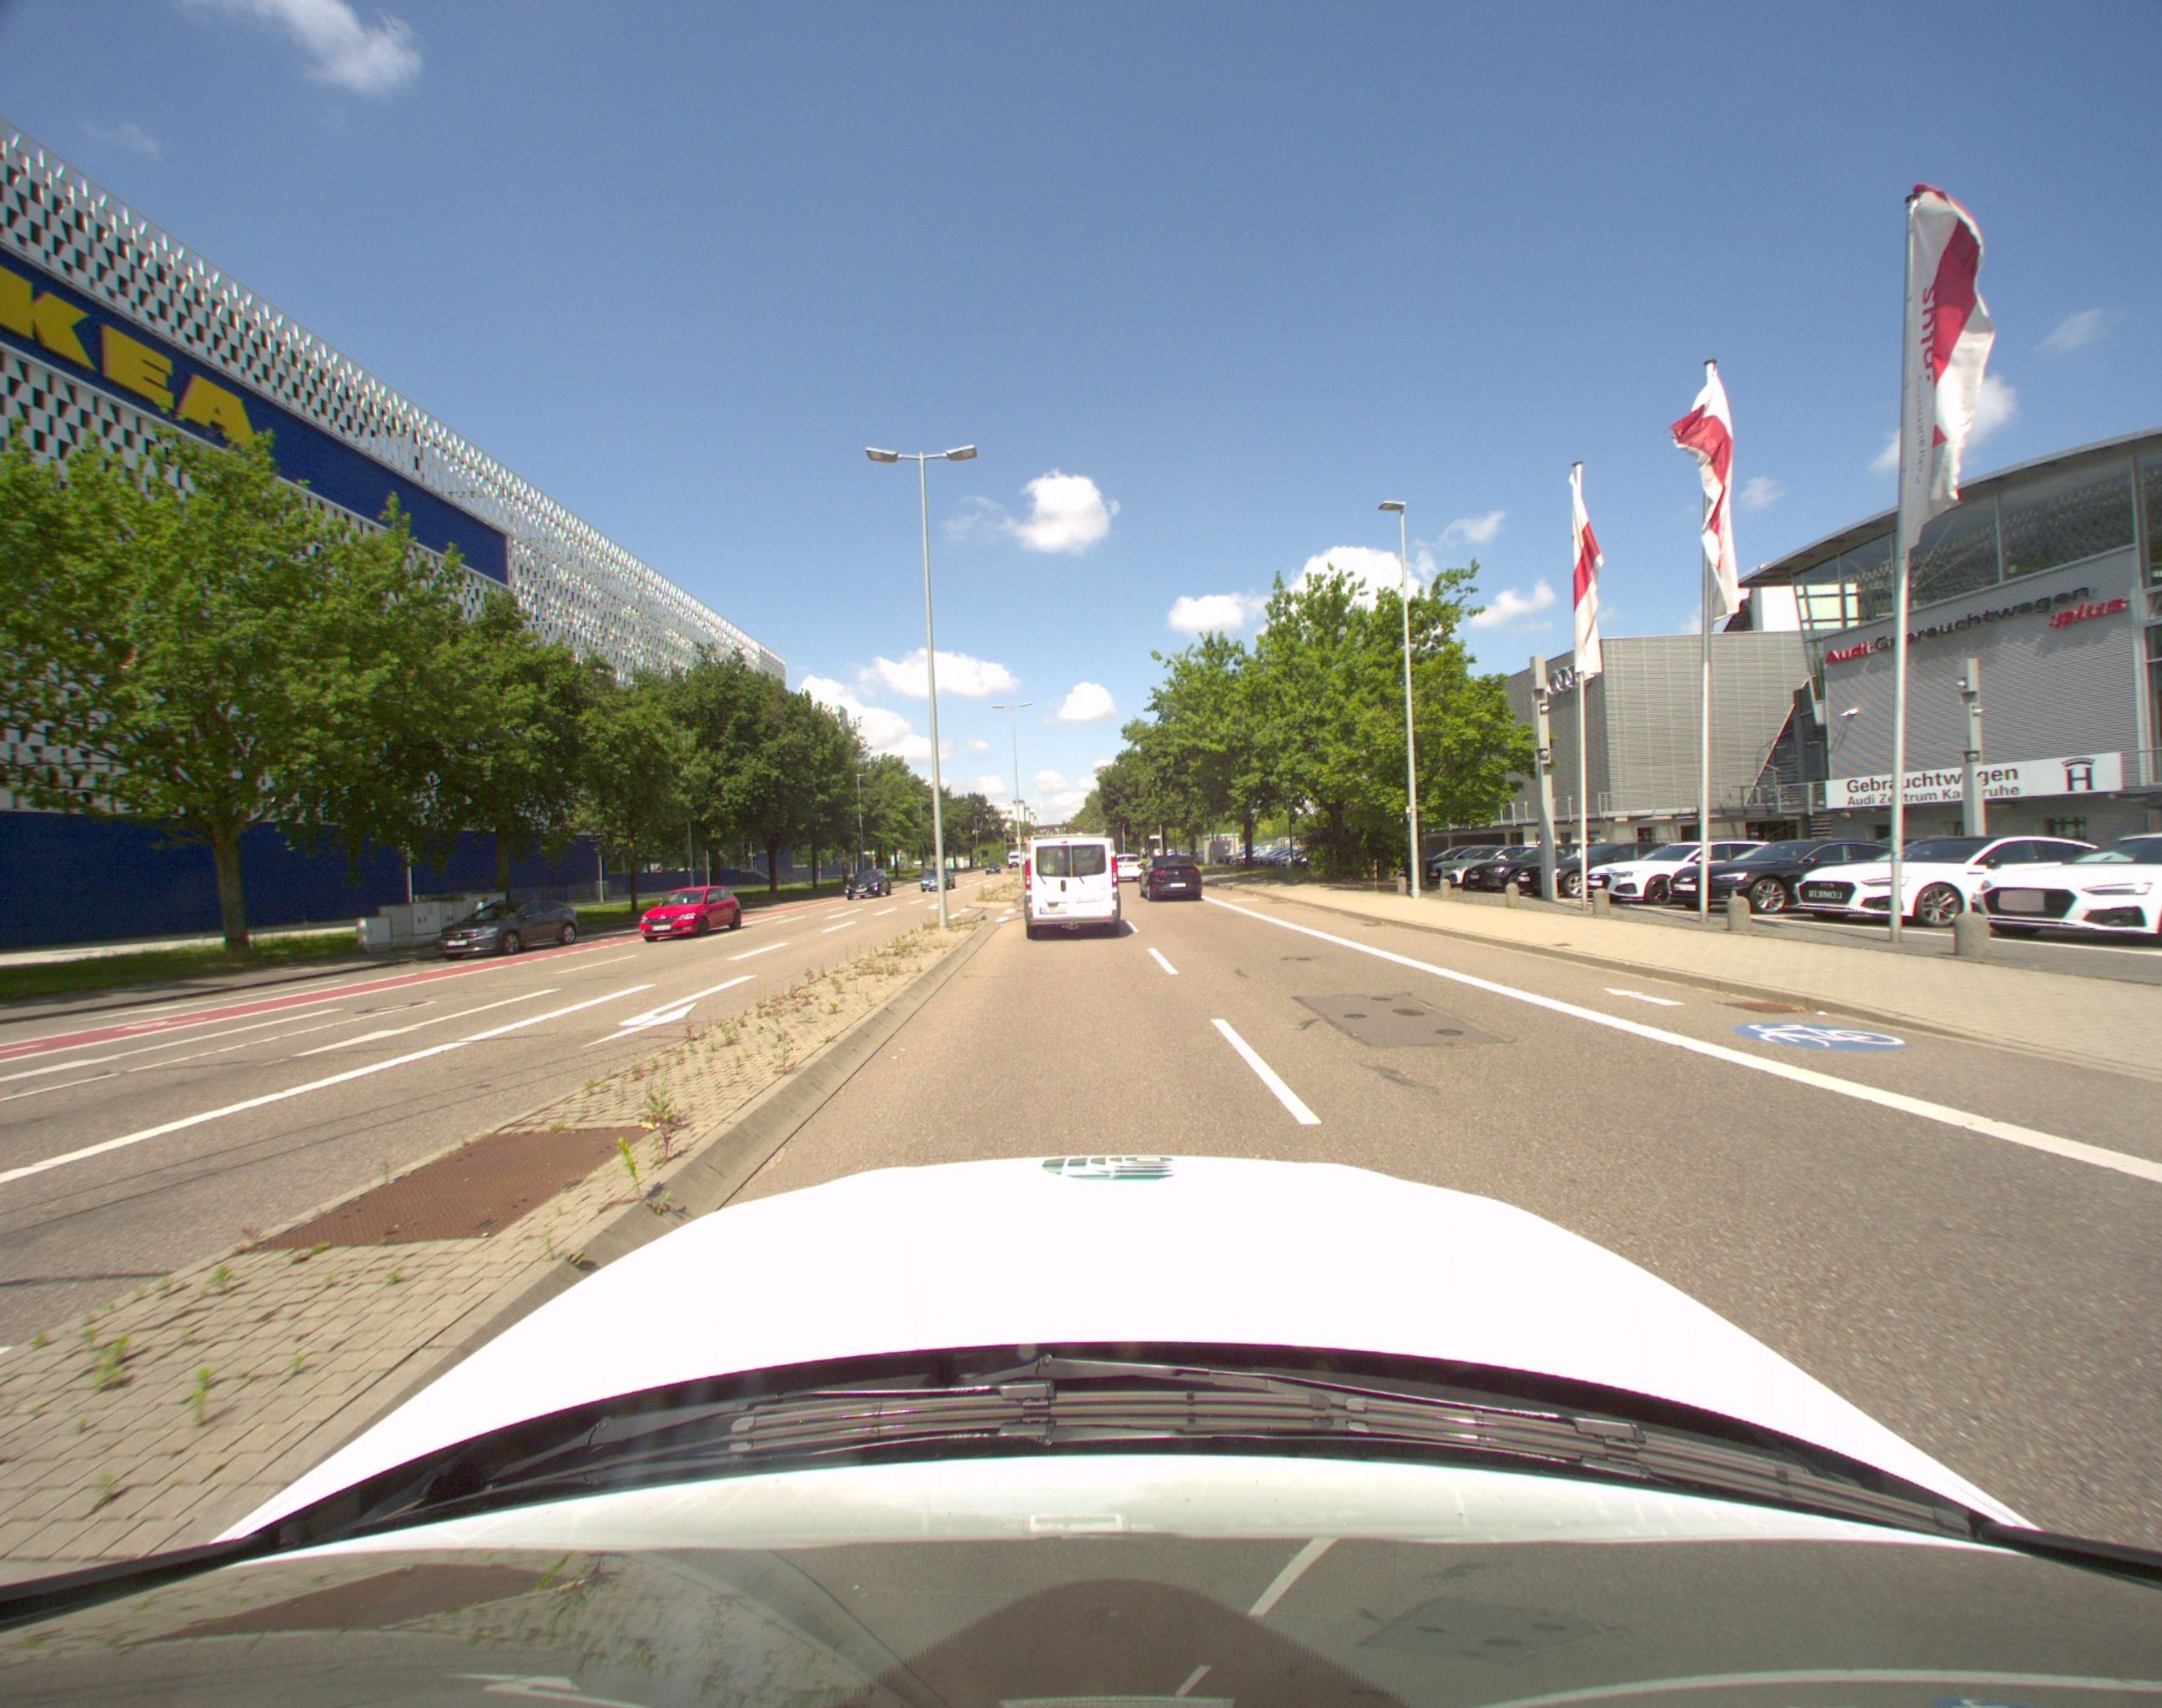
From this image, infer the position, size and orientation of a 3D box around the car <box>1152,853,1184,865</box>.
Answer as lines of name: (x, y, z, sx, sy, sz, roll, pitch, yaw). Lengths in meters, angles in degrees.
car: (12.641, 0.715, 118.406, 4.344, 1.512, 1.934, -2, 1, -3)

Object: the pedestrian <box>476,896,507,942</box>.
pedestrian: (-21.223, 2.333, 29.344, 0.501, 1.555, 0.760, -3, 0, -1)

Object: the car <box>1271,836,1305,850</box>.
car: (29.134, -1.568, 114.552, 4.338, 1.774, 1.937, -2, 1, 2)

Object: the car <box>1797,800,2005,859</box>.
car: (24.476, -0.696, 24.414, 4.334, 1.499, 1.906, -3, 0, -2)

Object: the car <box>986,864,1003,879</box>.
car: (-10.539, 2.111, 99.206, 1.734, 1.609, 4.236, -6, 0, -3)

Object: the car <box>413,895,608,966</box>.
car: (-16.355, 2.129, 23.707, 1.879, 1.555, 4.600, -3, 0, 10)

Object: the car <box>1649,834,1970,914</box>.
car: (13.854, 0.332, 15.682, 4.562, 1.297, 1.906, -2, 1, -2)

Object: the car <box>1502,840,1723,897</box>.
car: (13.775, 0.340, 21.290, 4.562, 1.297, 1.906, 1, 1, -2)

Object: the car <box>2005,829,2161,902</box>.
car: (24.765, 0.213, 18.976, 4.334, 1.499, 1.906, -3, 0, -2)

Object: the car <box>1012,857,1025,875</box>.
car: (-10.680, 2.047, 137.880, 2.020, 2.893, 6.371, -3, 0, -5)

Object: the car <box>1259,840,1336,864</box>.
car: (14.249, -0.142, 53.676, 4.562, 1.404, 1.906, -2, 1, -2)

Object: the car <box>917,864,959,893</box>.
car: (-8.924, 1.517, 51.197, 1.768, 1.548, 4.817, -5, 0, -2)

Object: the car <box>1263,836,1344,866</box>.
car: (13.958, -0.221, 51.211, 4.562, 1.678, 1.906, -2, 1, -2)

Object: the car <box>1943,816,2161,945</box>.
car: (13.707, 0.316, 10.220, 3.976, 1.464, 1.795, 1, 0, -2)

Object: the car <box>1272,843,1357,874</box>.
car: (13.951, 0.247, 48.803, 4.562, 1.678, 1.906, -2, 1, -2)

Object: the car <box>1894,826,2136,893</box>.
car: (24.821, 0.135, 21.750, 4.334, 1.499, 1.906, -3, 0, -2)

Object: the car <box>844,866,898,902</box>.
car: (-12.313, 1.710, 47.982, 1.923, 1.755, 4.817, -5, 0, -2)

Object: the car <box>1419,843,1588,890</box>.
car: (13.714, 0.380, 26.603, 4.562, 1.404, 1.906, 1, 1, -2)

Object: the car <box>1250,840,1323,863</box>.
car: (14.181, -0.212, 56.285, 4.562, 1.404, 1.906, -2, 1, -2)

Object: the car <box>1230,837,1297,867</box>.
car: (13.670, -0.160, 61.159, 4.562, 2.049, 1.906, -2, 1, -2)

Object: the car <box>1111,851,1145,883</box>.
car: (2.655, 0.730, 46.721, 1.768, 1.629, 4.001, -2, 1, 1)

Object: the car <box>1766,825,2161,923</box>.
car: (13.924, 0.270, 12.946, 4.562, 1.297, 1.906, -2, 1, -2)

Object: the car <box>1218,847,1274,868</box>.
car: (14.014, 0.299, 69.416, 4.342, 1.513, 1.855, -3, 0, -1)

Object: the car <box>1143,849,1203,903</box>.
car: (3.115, 0.698, 28.177, 1.767, 1.629, 4.003, -2, 1, 3)

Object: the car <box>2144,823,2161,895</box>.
car: (24.716, 0.000, 16.344, 4.334, 1.499, 1.906, -3, 0, -2)

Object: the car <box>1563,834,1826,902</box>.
car: (13.706, 0.269, 18.381, 4.562, 1.297, 1.906, -2, 1, -2)

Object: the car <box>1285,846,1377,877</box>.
car: (14.095, 0.400, 46.054, 4.562, 1.499, 1.906, -3, 0, -2)

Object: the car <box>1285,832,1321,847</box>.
car: (29.701, -1.957, 109.226, 4.338, 1.774, 1.937, -2, 1, 2)

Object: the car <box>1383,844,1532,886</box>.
car: (13.548, 0.382, 29.484, 4.562, 1.404, 1.906, -1, 1, -2)

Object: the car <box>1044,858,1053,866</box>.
car: (-8.006, 1.850, 200.599, 1.987, 1.771, 4.000, -2, 2, 0)

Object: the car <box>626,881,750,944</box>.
car: (-11.746, 1.698, 24.672, 1.681, 1.483, 4.123, -5, 0, -1)

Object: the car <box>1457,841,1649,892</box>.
car: (13.704, 0.338, 23.814, 4.562, 1.383, 1.906, 0, 1, -2)

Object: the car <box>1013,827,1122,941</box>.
car: (-0.191, 0.529, 17.541, 1.966, 2.059, 4.566, -2, 1, 1)
